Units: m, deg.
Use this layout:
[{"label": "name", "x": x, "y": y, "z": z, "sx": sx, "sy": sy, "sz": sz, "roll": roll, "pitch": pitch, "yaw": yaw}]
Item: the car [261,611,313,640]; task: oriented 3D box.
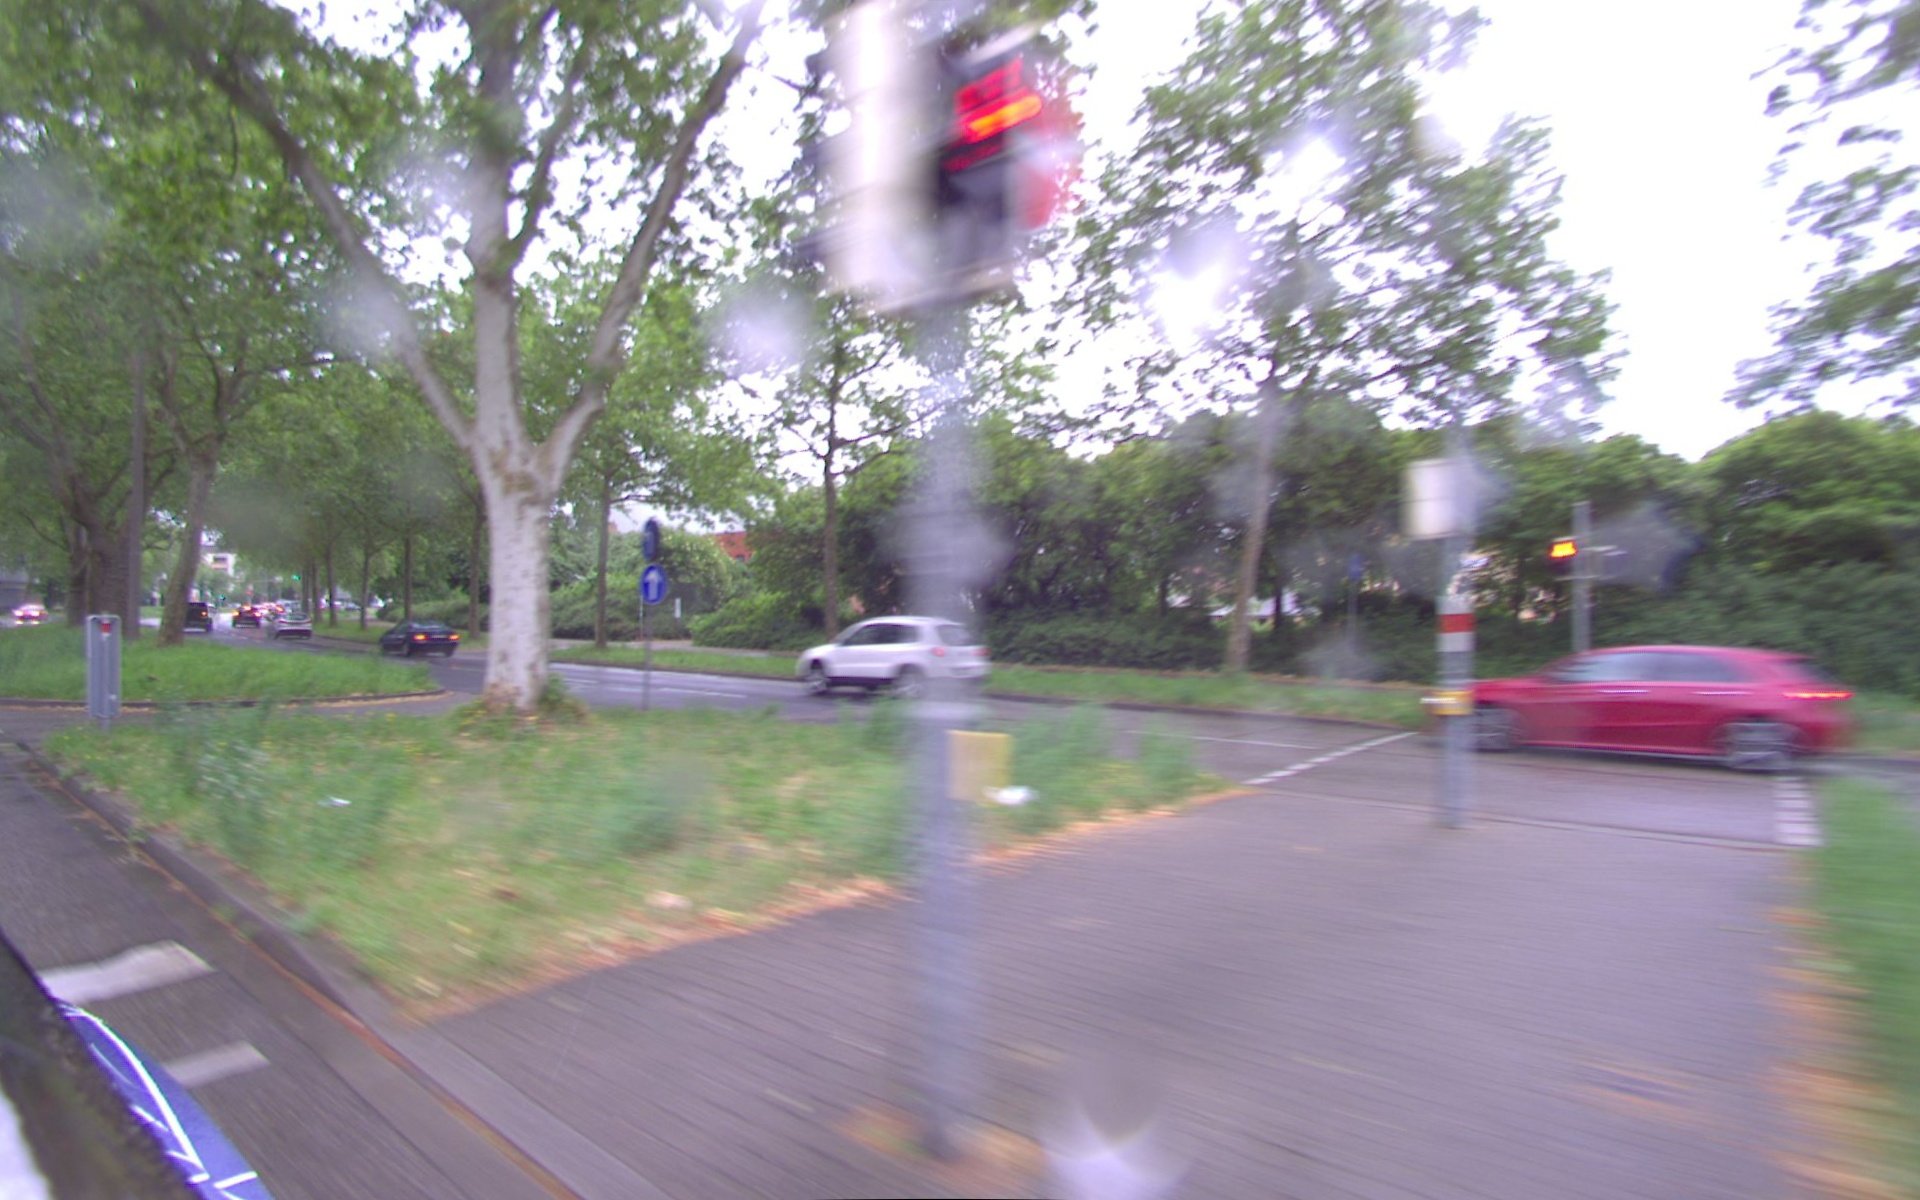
[{"label": "car", "x": -37.381, "y": 1.400, "z": 56.164, "sx": 1.722, "sy": 1.487, "sz": 4.239, "roll": 1, "pitch": -1, "yaw": -43}]

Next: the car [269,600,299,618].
[{"label": "car", "x": -90.281, "y": 1.215, "z": 135.203, "sx": 2.001, "sy": 2.243, "sz": 5.451, "roll": 1, "pitch": -1, "yaw": -19}]

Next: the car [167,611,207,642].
[{"label": "car", "x": -49.186, "y": 1.650, "z": 64.352, "sx": 1.722, "sy": 1.856, "sz": 5.128, "roll": 1, "pitch": -1, "yaw": -41}]

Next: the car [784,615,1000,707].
[{"label": "car", "x": -1.467, "y": 1.157, "z": 20.798, "sx": 4.439, "sy": 1.644, "sz": 1.726, "roll": 0, "pitch": -1, "yaw": 39}]

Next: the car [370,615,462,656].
[{"label": "car", "x": -20.697, "y": 1.348, "z": 38.405, "sx": 4.444, "sy": 1.450, "sz": 1.724, "roll": -2, "pitch": -2, "yaw": 43}]

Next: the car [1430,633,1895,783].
[{"label": "car", "x": 8.361, "y": 1.176, "z": 12.435, "sx": 4.438, "sy": 1.418, "sz": 1.727, "roll": 0, "pitch": -1, "yaw": 38}]
